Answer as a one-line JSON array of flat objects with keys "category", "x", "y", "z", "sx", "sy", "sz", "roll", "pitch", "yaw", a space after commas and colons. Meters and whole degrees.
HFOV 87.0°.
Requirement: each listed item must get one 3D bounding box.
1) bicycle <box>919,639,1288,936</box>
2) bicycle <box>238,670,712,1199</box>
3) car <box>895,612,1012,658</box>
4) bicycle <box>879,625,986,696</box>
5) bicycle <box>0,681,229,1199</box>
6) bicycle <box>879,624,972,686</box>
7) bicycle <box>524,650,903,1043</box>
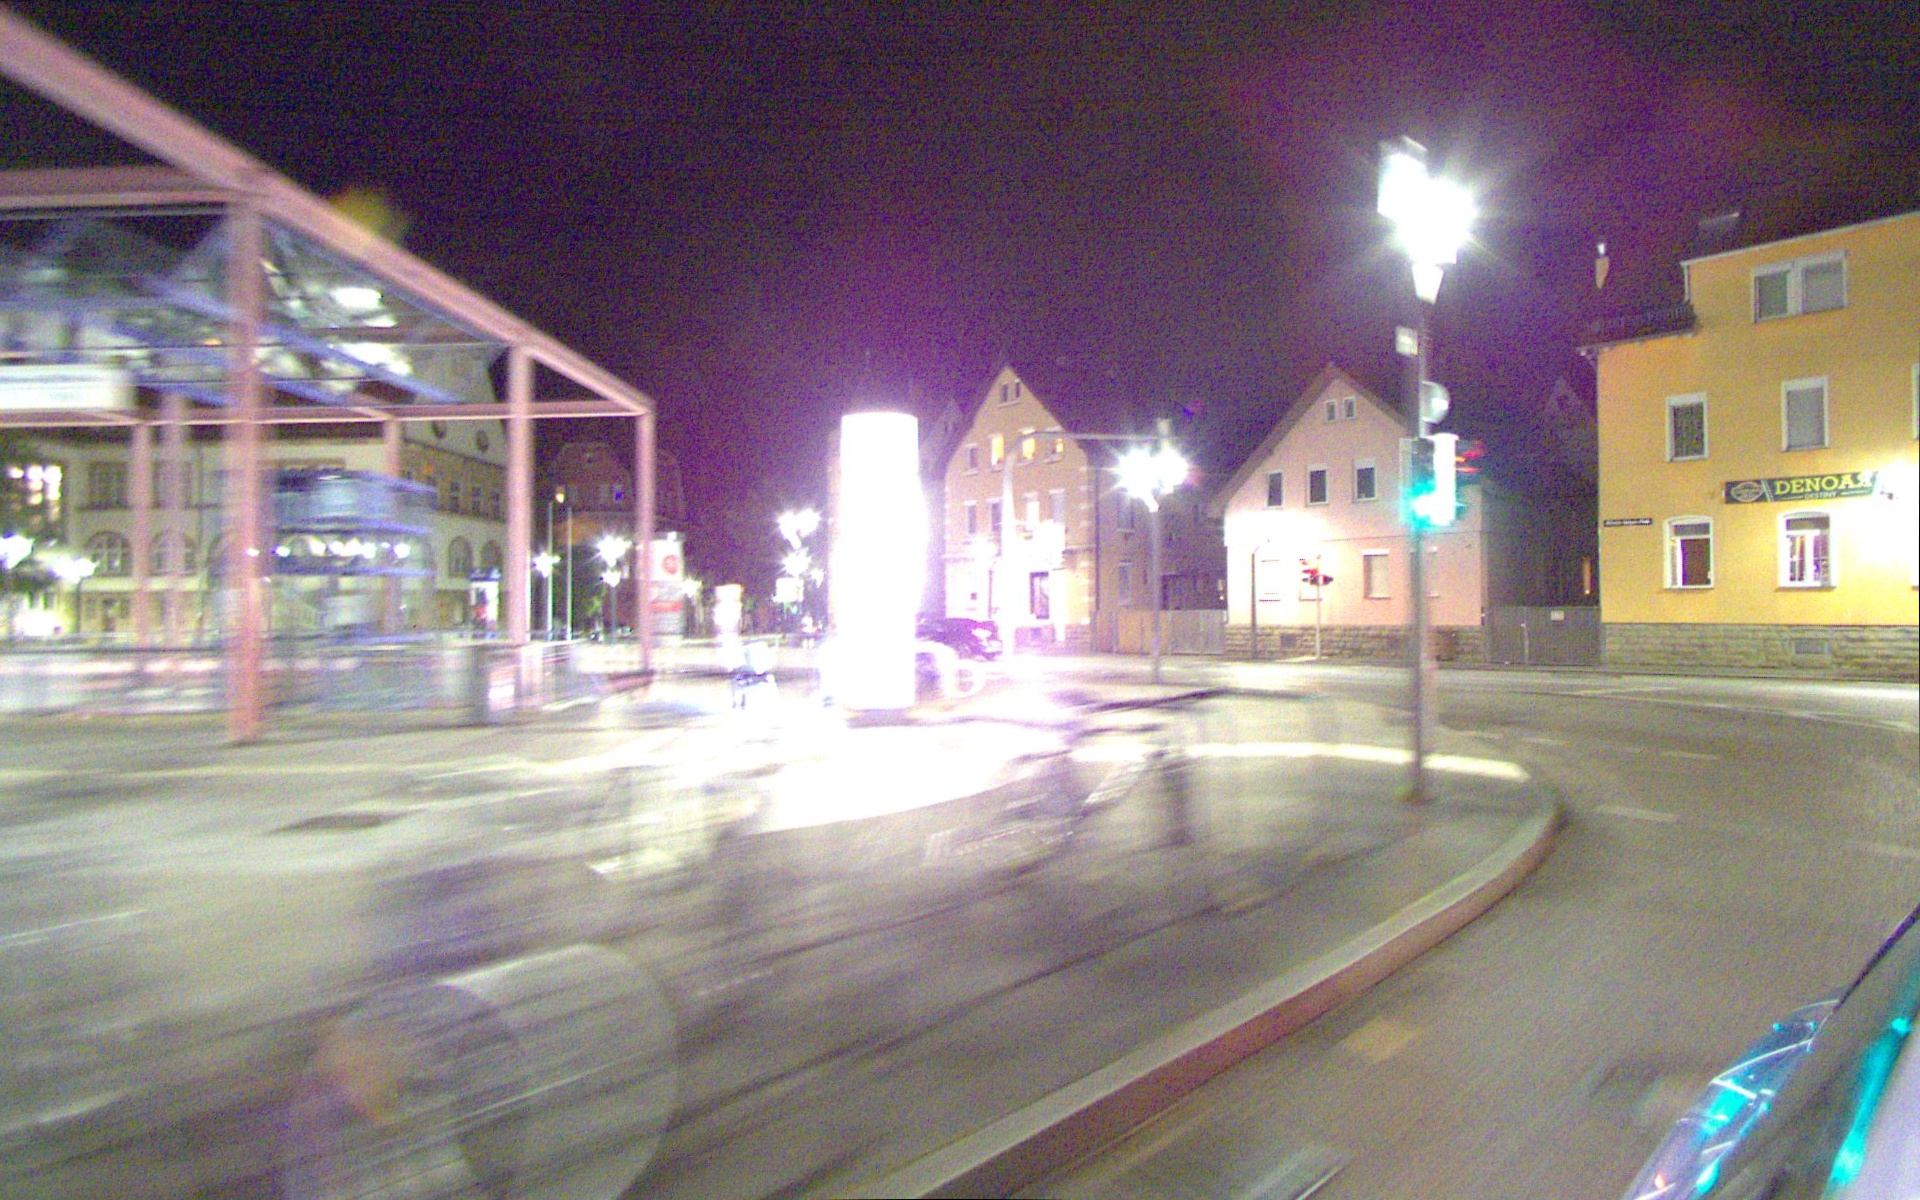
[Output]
[{"category": "bicycle", "x": 0.650, "y": 0.794, "z": 4.998, "sx": 0.814, "sy": 1.155, "sz": 1.656, "roll": 0, "pitch": -1, "yaw": -44}, {"category": "bicycle", "x": -1.349, "y": 0.801, "z": 2.631, "sx": 0.632, "sy": 1.149, "sz": 1.655, "roll": 1, "pitch": -1, "yaw": -44}, {"category": "car", "x": -0.267, "y": 1.293, "z": 37.960, "sx": 4.215, "sy": 1.605, "sz": 1.719, "roll": -1, "pitch": -1, "yaw": 36}, {"category": "bicycle", "x": -0.485, "y": 1.012, "z": 17.111, "sx": 1.767, "sy": 1.142, "sz": 0.651, "roll": -1, "pitch": -1, "yaw": -4}, {"category": "bicycle", "x": -2.172, "y": 0.810, "z": 2.240, "sx": 1.788, "sy": 1.149, "sz": 0.619, "roll": -1, "pitch": -1, "yaw": 45}, {"category": "bicycle", "x": -0.677, "y": 1.050, "z": 19.569, "sx": 1.767, "sy": 1.142, "sz": 0.651, "roll": -1, "pitch": -1, "yaw": -4}, {"category": "bicycle", "x": -1.058, "y": 0.806, "z": 4.021, "sx": 0.675, "sy": 1.155, "sz": 1.770, "roll": 1, "pitch": -1, "yaw": -44}]
